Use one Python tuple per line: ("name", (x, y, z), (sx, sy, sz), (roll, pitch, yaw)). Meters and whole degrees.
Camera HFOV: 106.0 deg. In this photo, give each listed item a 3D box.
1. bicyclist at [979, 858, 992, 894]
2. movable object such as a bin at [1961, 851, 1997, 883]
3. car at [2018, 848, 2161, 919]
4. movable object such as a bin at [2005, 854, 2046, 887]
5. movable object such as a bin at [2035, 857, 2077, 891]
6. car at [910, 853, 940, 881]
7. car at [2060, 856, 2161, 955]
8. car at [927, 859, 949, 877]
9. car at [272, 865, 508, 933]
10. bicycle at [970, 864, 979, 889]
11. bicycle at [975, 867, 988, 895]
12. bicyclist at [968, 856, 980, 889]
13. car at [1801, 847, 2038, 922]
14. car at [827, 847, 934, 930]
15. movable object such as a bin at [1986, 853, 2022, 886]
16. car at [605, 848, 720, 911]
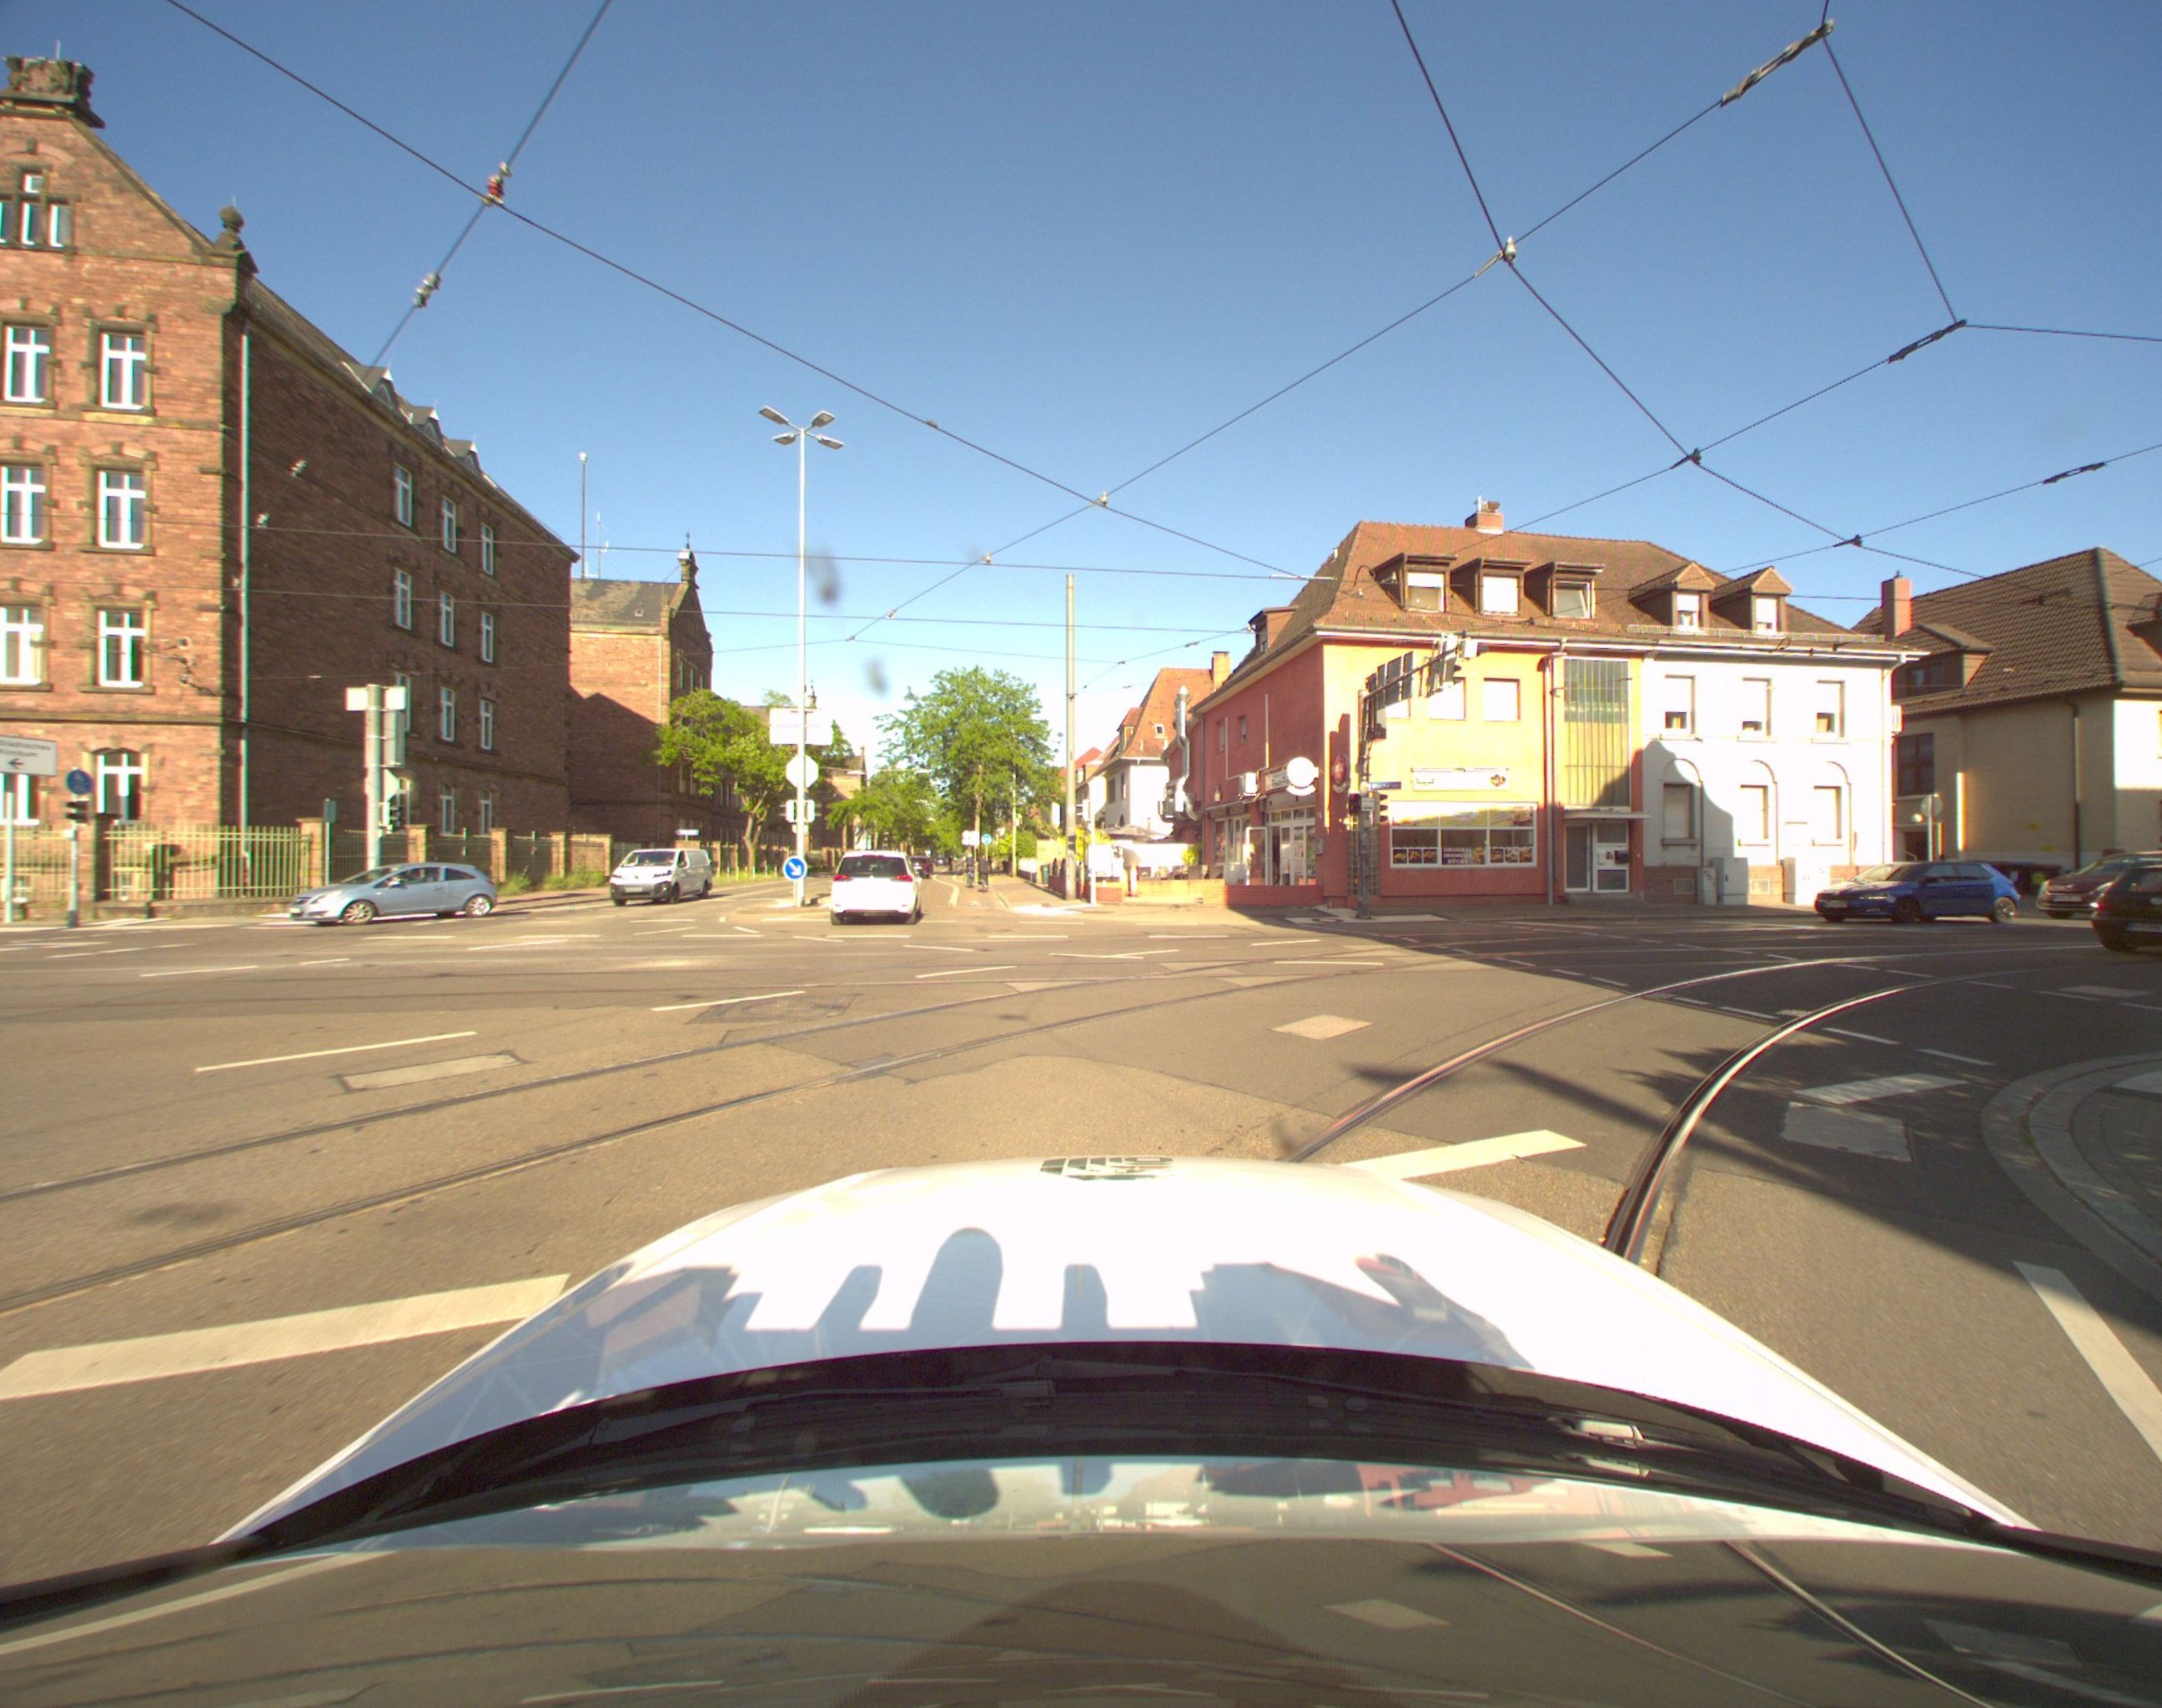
("bicyclist", (-4.422, 1.012, 37.691), (0.554, 1.617, 0.684), (0, 1, -8))
("movable object such as a bin", (32.470, 0.461, 29.456), (0.588, 1.111, 0.615), (-1, 2, -8))
("car", (25.869, 0.684, 19.681), (4.689, 1.611, 1.741), (-1, -2, -4))
("movable object such as a bin", (32.597, 0.566, 28.115), (0.670, 1.111, 0.642), (-1, 2, -8))
("movable object such as a bin", (32.690, 0.654, 27.312), (0.670, 1.079, 0.616), (-1, 2, -8))
("car", (-11.568, 0.929, 60.109), (1.993, 1.849, 4.232), (2, 0, -12))
("car", (17.364, 0.726, 12.129), (3.990, 1.402, 1.717), (-1, -1, -8))
("car", (-14.821, 1.389, 84.433), (1.990, 1.665, 4.114), (2, 0, -7))
("car", (-17.067, 1.043, 20.372), (1.721, 1.443, 4.138), (-1, 0, 24))
("bicycle", (-5.501, 1.153, 41.933), (0.470, 1.189, 1.990), (0, 0, -8))
("bicycle", (-4.571, 1.215, 37.471), (0.558, 1.189, 1.990), (0, 0, -8))
("bicyclist", (-5.540, 0.953, 42.256), (0.608, 1.656, 0.793), (0, 1, -8))
("car", (19.130, 0.689, 18.666), (3.910, 1.568, 1.685), (-1, -2, -6))
("car", (-4.580, 0.711, 19.180), (1.962, 1.665, 4.238), (2, 0, -8))
("movable object such as a bin", (32.607, 0.534, 28.774), (0.588, 1.111, 0.569), (-1, 2, -8))
("car", (-14.332, 0.816, 28.286), (2.159, 1.929, 5.281), (-1, 0, -12))
